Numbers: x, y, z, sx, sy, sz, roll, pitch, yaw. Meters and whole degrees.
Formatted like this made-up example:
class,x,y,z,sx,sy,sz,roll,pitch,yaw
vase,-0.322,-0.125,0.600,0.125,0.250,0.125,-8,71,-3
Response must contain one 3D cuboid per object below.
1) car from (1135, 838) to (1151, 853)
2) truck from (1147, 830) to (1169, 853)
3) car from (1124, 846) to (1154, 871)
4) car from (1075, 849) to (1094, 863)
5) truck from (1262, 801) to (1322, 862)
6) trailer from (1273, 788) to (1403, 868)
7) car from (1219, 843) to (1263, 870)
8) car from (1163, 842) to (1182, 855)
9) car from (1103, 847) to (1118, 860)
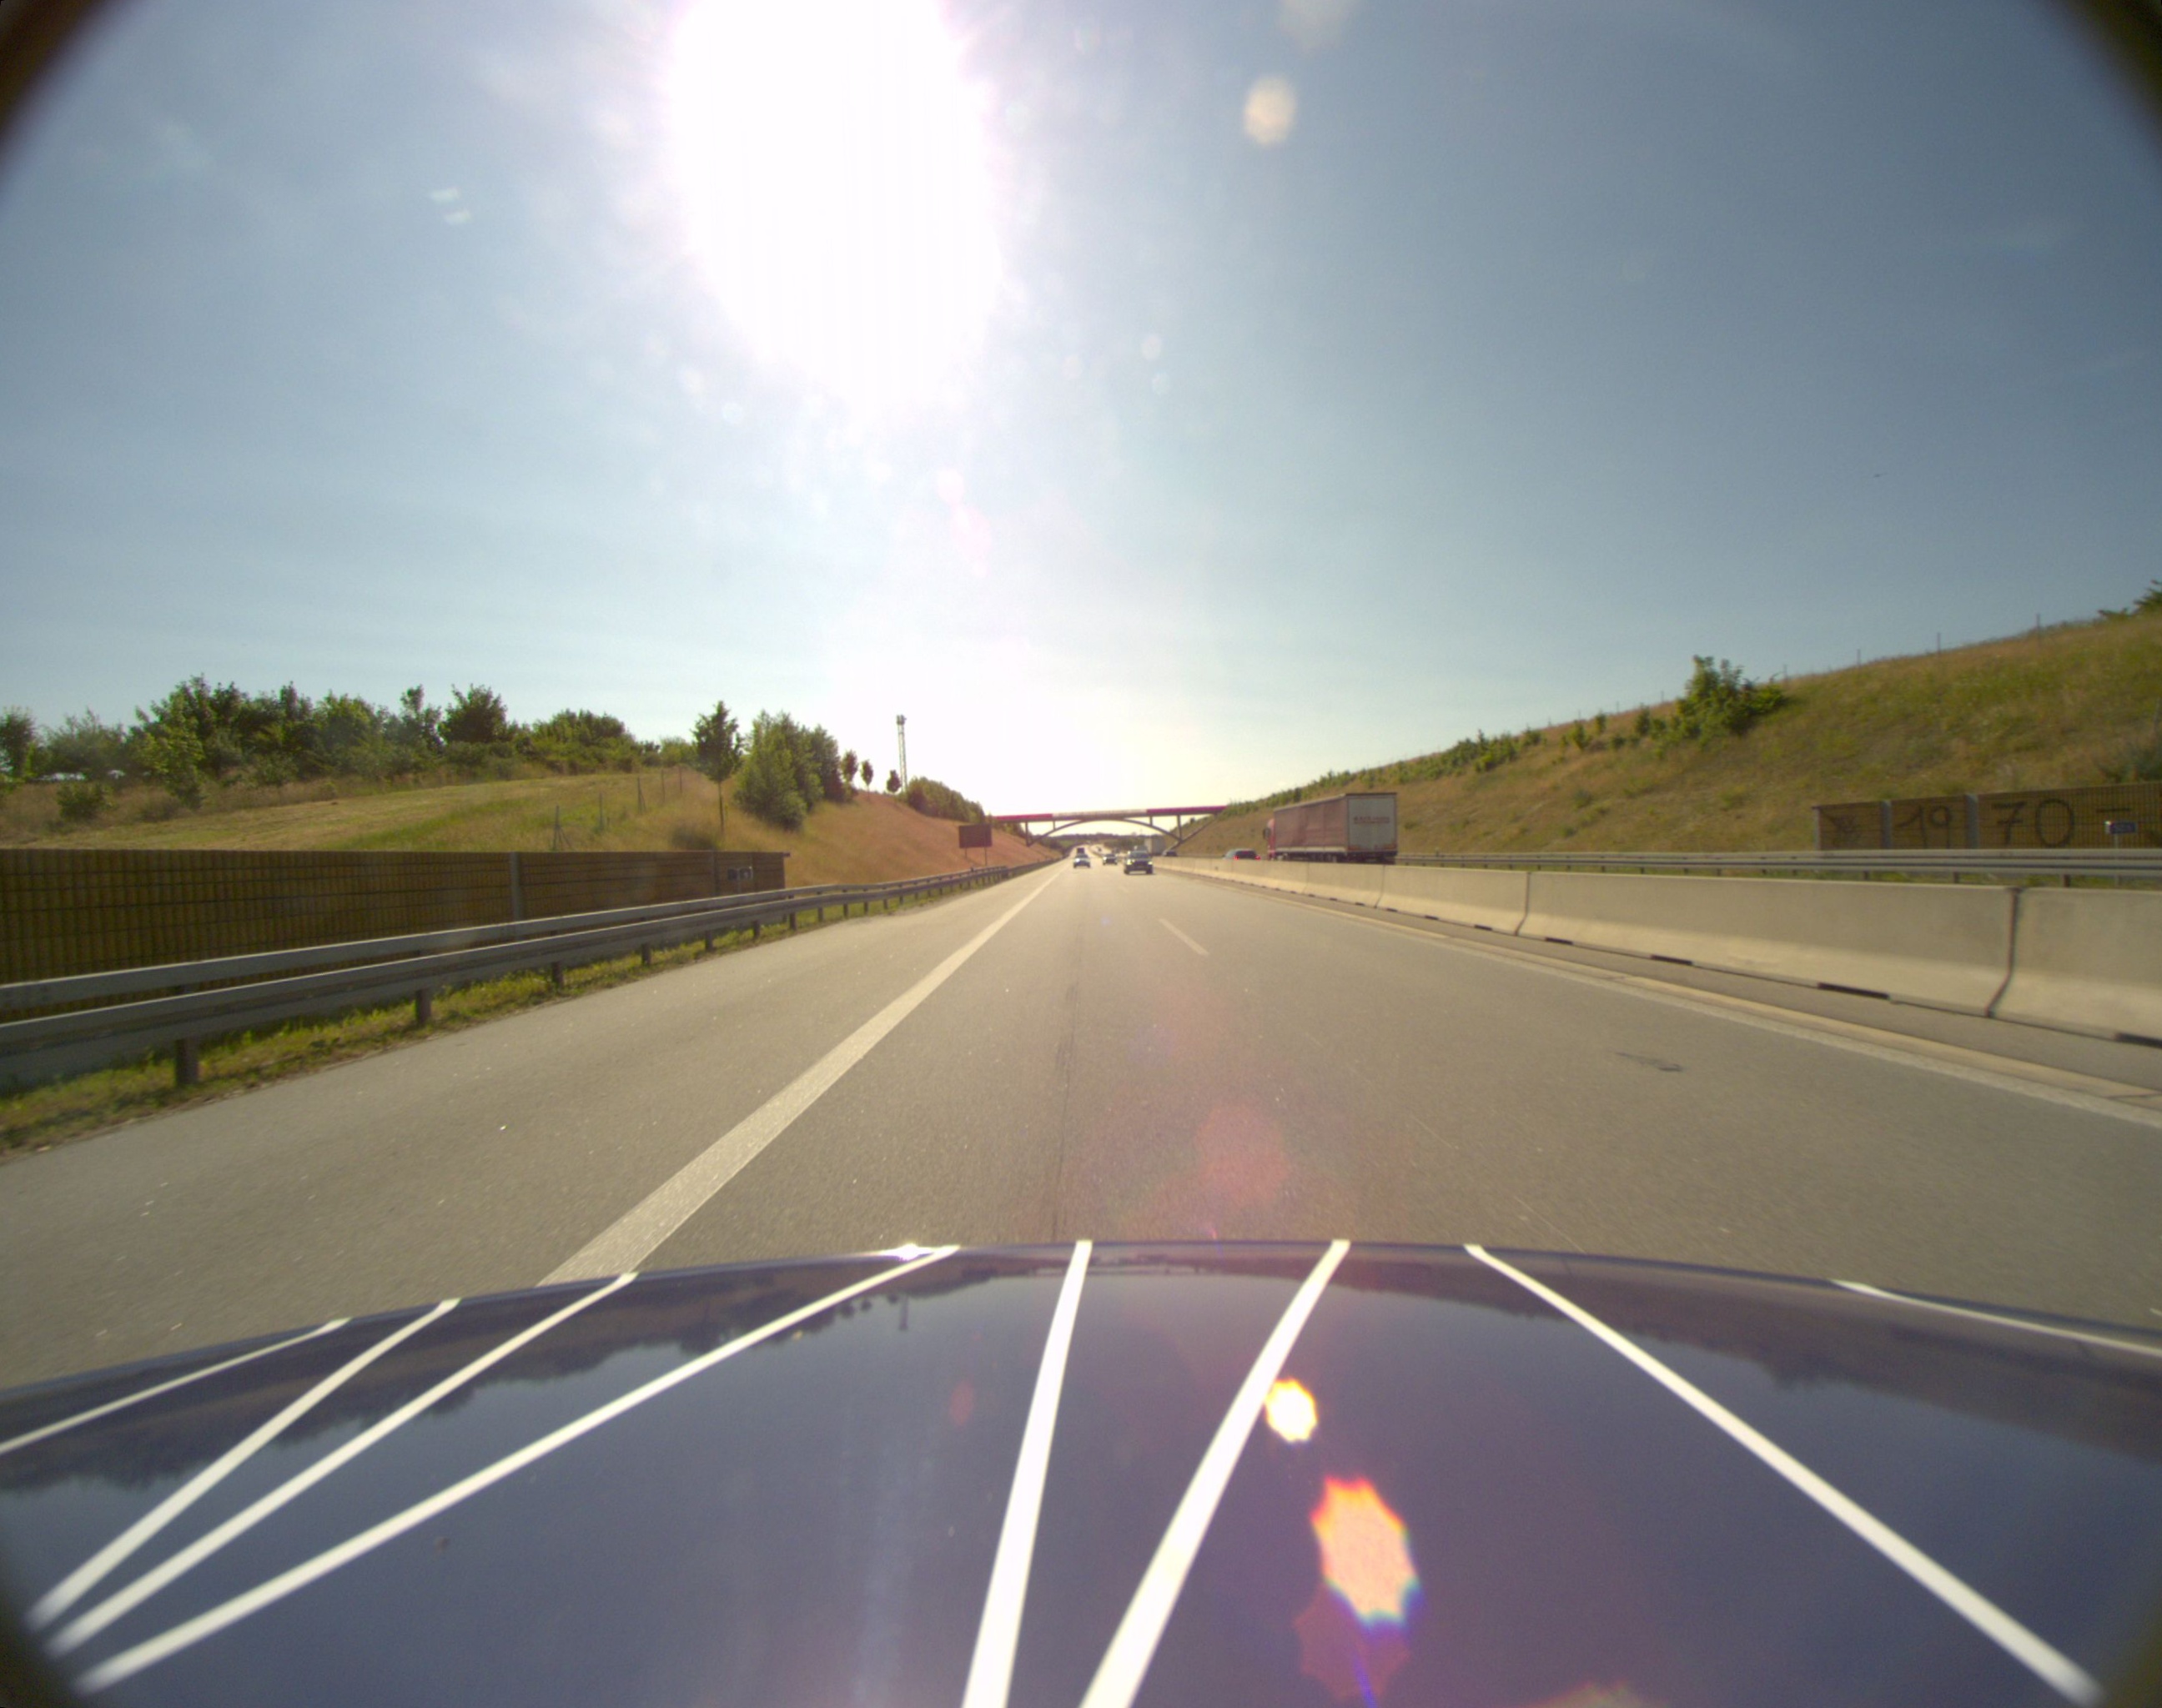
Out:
class,x,y,z,sx,sy,sz,roll,pitch,yaw
car,10.764,-1.436,132.645,2.211,2.441,5.831,-2,1,-1
truck,15.168,-2.386,150.700,3.023,4.284,12.733,-2,1,1
car,4.049,0.292,53.874,1.726,1.578,5.221,-2,1,1
car,0.376,0.179,83.738,1.909,1.449,4.375,-2,1,2
truck,14.249,-1.494,51.588,2.644,3.900,4.893,-2,1,0
trailer,14.334,-1.371,44.104,2.645,3.853,13.732,-2,1,-1
car,10.229,0.133,48.858,1.801,1.584,4.658,-2,1,0
car,10.889,-0.638,90.844,1.690,1.496,4.162,-2,1,-1
car,3.768,-0.086,97.139,1.776,1.560,4.987,-2,1,1
